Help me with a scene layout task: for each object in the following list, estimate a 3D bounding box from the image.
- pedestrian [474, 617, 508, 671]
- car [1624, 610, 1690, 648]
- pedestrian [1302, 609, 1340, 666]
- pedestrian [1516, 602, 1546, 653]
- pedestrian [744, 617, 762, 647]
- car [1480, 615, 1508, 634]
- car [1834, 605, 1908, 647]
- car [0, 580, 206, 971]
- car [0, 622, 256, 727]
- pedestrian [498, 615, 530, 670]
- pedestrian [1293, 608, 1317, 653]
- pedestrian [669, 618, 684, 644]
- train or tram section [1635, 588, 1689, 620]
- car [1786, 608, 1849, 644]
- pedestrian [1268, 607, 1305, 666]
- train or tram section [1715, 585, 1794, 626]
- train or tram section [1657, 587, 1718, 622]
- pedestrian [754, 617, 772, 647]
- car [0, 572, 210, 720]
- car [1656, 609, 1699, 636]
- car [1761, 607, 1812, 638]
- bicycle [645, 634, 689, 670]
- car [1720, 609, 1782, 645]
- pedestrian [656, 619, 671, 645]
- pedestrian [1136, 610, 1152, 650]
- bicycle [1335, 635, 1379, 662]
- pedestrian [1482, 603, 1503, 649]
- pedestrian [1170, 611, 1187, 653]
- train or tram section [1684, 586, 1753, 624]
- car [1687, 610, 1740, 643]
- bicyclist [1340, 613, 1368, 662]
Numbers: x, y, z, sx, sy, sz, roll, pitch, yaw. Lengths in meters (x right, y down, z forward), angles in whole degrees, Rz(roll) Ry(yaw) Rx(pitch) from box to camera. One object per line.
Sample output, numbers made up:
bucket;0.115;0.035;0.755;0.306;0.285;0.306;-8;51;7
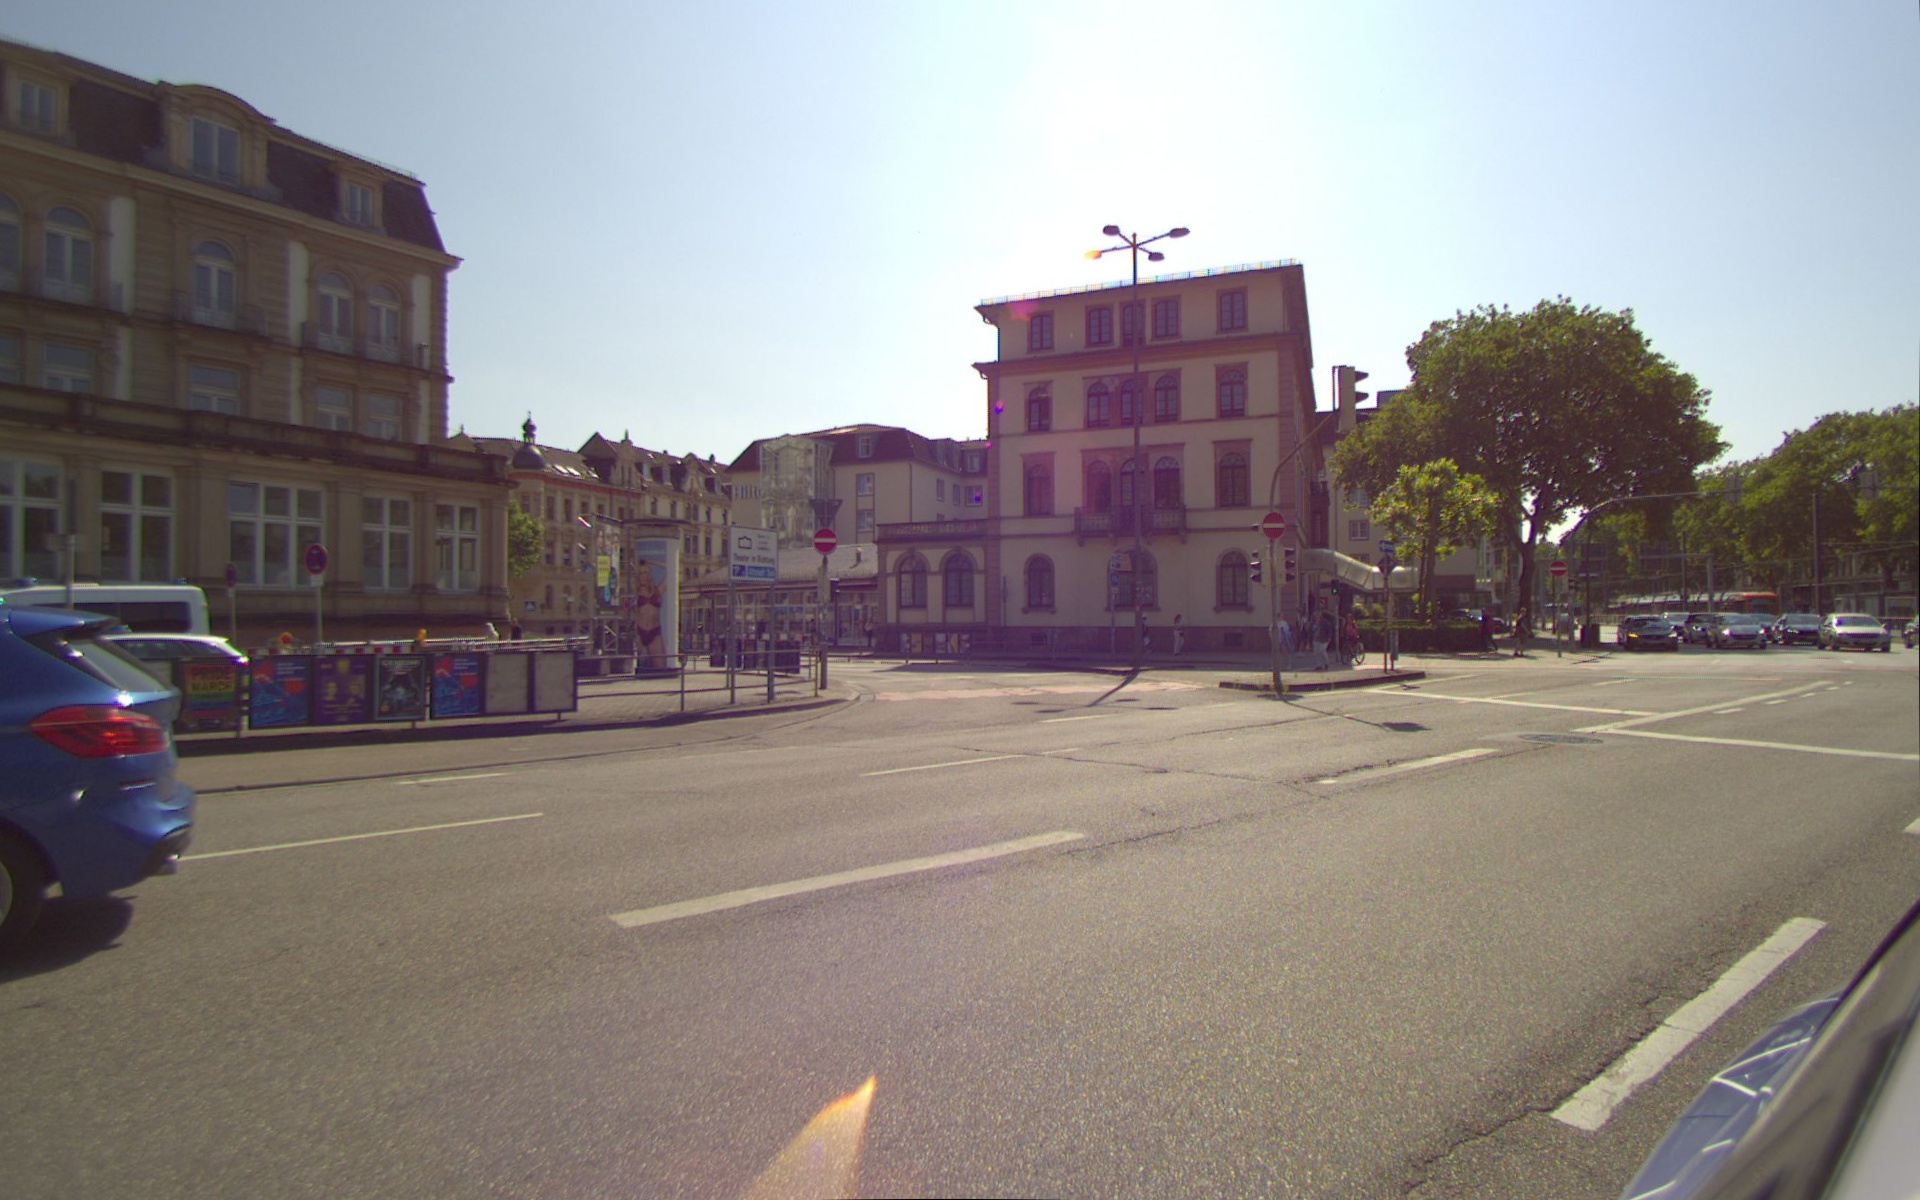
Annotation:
pedestrian;-15.529;1.437;33.476;0.817;1.763;0.740;-2;-2;39
car;29.671;1.207;43.185;1.774;1.470;3.937;1;0;26
pedestrian;10.431;1.076;29.268;0.770;1.592;0.817;-2;-2;42
pedestrian;20.915;1.002;37.090;0.715;1.869;0.592;-1;-2;-1
pedestrian;-11.379;1.747;55.547;0.722;1.624;0.708;-2;-2;44
car;37.548;1.706;71.203;1.575;1.339;3.547;-1;-1;26
car;35.330;1.015;39.353;1.710;1.519;4.430;0;-1;36
car;-5.522;0.722;3.873;4.192;1.561;1.723;0;-2;-37
car;-15.439;1.233;17.718;1.807;1.647;4.827;-2;-1;30
pedestrian;-14.705;1.400;33.354;0.698;1.774;0.711;-2;-2;38
pedestrian;13.163;1.165;38.591;0.833;1.717;0.740;-1;-2;20
pedestrian;-17.888;1.958;63.780;0.706;1.624;0.724;1;-2;-37
train or tram section;77.089;0.484;111.351;2.701;3.310;8.676;-1;-1;20
car;39.239;1.144;46.409;1.780;1.543;3.924;0;0;34
pedestrian;9.464;1.056;29.298;0.750;1.681;0.817;-2;-2;40
train or tram section;68.087;0.540;86.941;2.701;3.310;8.676;-1;-1;20
train or tram section;74.064;0.503;103.209;2.701;3.310;8.676;-1;-1;20
pedestrian;-10.927;1.757;56.030;0.722;1.624;0.708;-2;-2;43
car;-17.670;0.844;19.142;1.984;2.637;5.258;-2;-2;31
car;41.790;1.295;58.893;1.784;1.470;3.917;0;0;39
car;44.074;1.153;54.026;1.780;1.543;3.924;0;0;34
bicycle;-9.781;1.725;33.784;1.812;1.113;0.497;0;-1;40
car;33.771;1.114;43.189;1.786;1.470;3.912;0;0;43
pedestrian;-18.431;1.990;62.976;0.706;1.624;0.724;1;-2;-36
pedestrian;7.789;1.277;42.869;0.529;1.670;0.668;-1;-2;25
bicycle;13.535;1.630;34.488;1.712;0.866;0.593;0;-2;-37
pedestrian;21.429;1.035;40.751;0.719;1.828;0.646;-1;-2;28
pedestrian;8.789;1.281;40.724;0.529;1.670;0.575;-1;-2;25
train or tram section;71.064;0.522;95.058;2.701;3.310;8.676;-1;-1;20
car;37.853;1.313;50.901;1.778;1.550;3.928;0;0;32
bicyclist;13.391;1.258;34.389;0.671;1.627;0.593;1;-2;-37
